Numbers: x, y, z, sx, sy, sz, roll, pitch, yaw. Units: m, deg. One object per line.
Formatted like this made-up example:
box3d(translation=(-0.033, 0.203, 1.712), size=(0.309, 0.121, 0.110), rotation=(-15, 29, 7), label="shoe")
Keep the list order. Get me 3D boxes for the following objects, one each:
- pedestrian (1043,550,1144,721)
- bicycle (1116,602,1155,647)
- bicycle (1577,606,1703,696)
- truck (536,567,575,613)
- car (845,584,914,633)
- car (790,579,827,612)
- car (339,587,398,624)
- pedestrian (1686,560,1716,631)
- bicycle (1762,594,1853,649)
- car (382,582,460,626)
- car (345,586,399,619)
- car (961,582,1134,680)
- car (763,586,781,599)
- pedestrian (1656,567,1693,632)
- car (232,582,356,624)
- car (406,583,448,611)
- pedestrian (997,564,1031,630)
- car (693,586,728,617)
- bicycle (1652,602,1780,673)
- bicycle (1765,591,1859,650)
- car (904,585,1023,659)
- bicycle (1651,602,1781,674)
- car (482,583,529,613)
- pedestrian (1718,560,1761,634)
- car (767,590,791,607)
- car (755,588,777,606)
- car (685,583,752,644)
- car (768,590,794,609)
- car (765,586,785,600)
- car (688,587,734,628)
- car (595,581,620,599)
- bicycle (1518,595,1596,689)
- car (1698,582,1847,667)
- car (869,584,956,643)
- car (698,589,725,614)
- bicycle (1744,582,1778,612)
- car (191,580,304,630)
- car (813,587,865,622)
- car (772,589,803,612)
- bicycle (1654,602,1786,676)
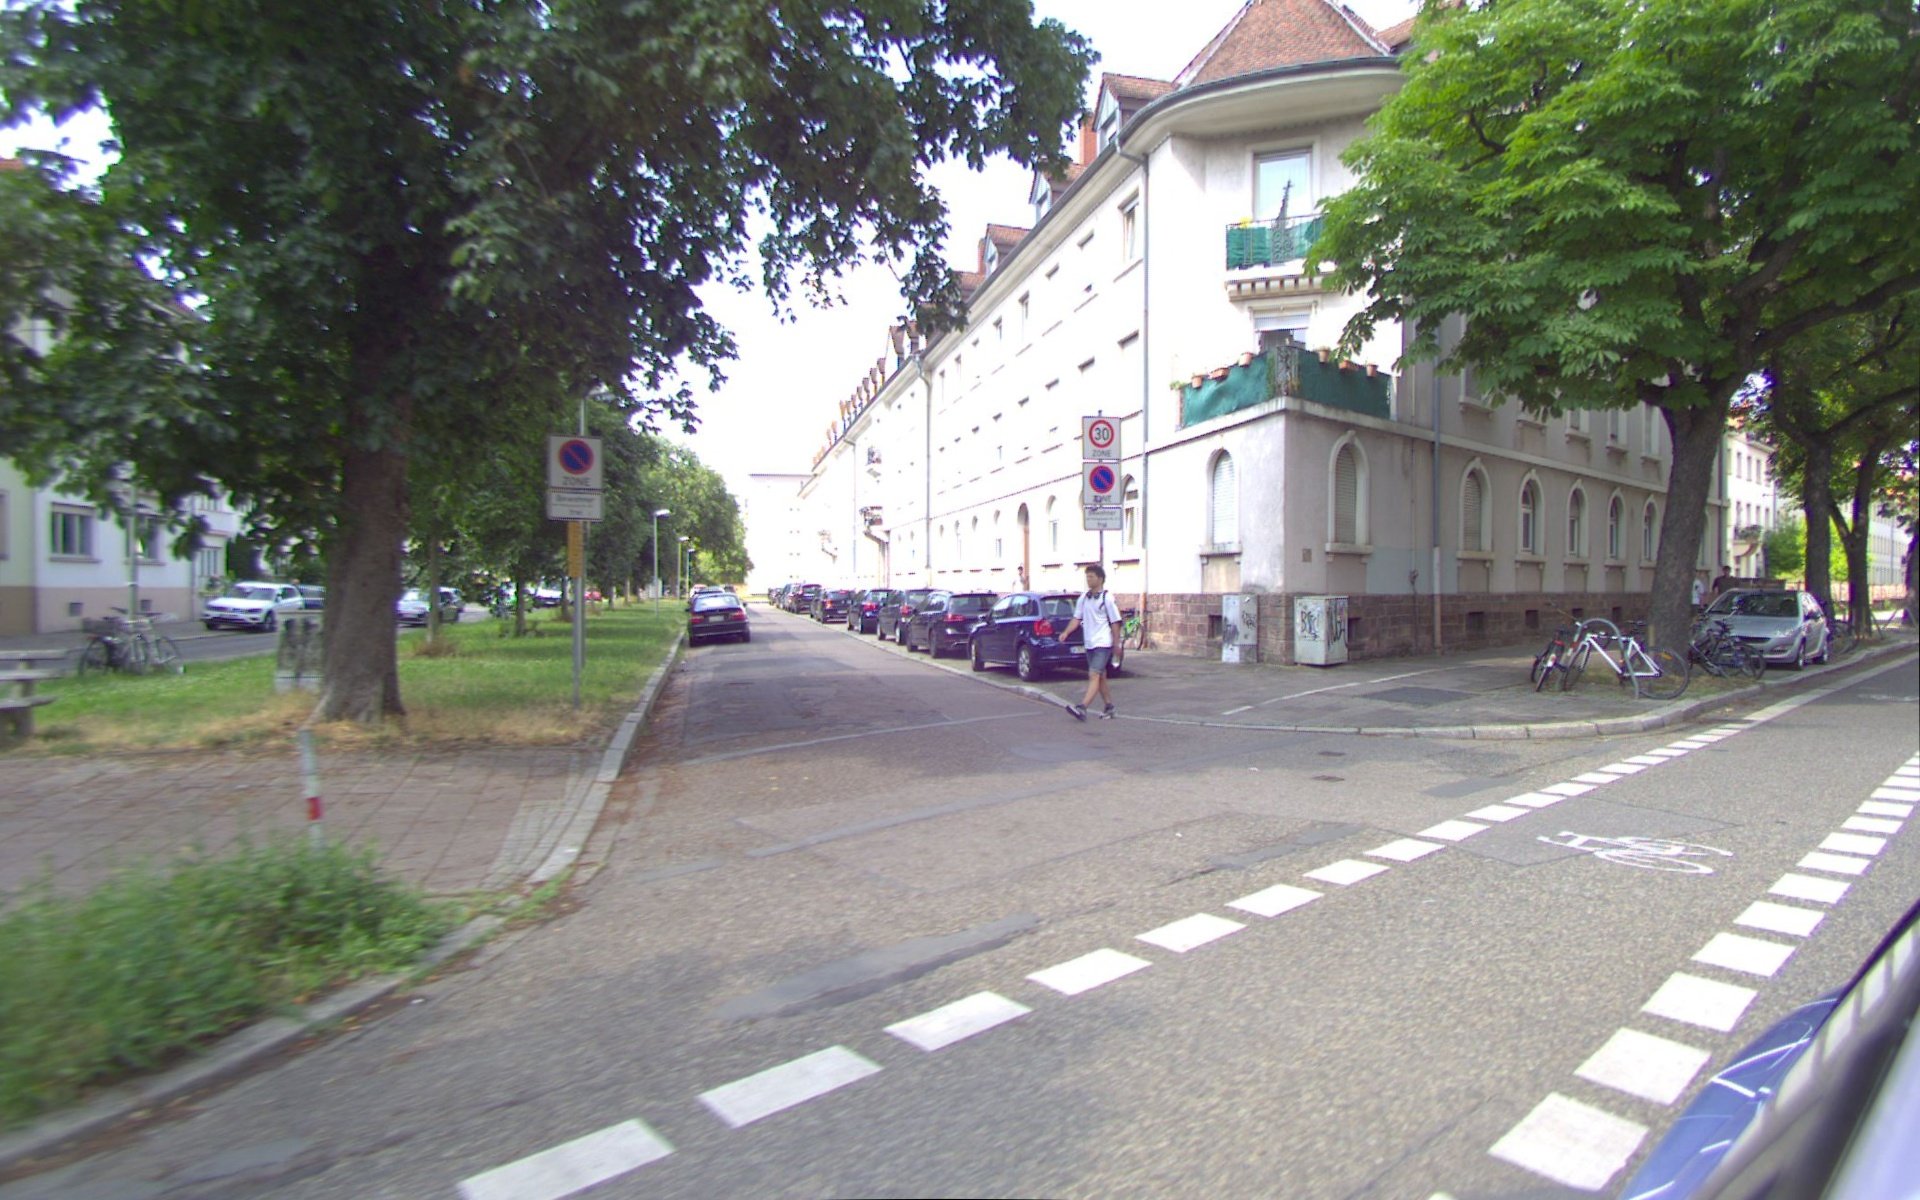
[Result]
box3d(translation=(1.523, 0.373, 11.528), size=(1.011, 1.857, 0.619), rotation=(0, 0, -38), label="pedestrian")
box3d(translation=(3.512, 0.471, 20.314), size=(0.339, 0.854, 1.209), rotation=(0, 1, -13), label="bicycle")
box3d(translation=(8.703, 0.625, 12.975), size=(0.470, 1.079, 1.270), rotation=(0, 1, -41), label="bicycle")
box3d(translation=(-27.693, -0.674, 69.404), size=(1.821, 2.989, 4.267), rotation=(2, 0, -14), label="truck")
box3d(translation=(-2.771, 0.227, 33.968), size=(1.695, 1.530, 3.940), rotation=(0, 1, -14), label="car")
box3d(translation=(-8.479, -0.272, 56.509), size=(1.695, 1.757, 3.940), rotation=(0, 1, -14), label="car")
box3d(translation=(-26.507, 0.224, 45.455), size=(1.357, 1.517, 3.340), rotation=(2, 0, -14), label="car")
box3d(translation=(20.023, -0.126, 27.348), size=(0.675, 1.876, 0.505), rotation=(0, 0, -41), label="pedestrian")
box3d(translation=(18.937, 0.453, 22.642), size=(0.508, 1.167, 1.493), rotation=(0, 1, -34), label="bicycle")
box3d(translation=(-20.022, 0.113, 37.760), size=(1.694, 1.517, 3.627), rotation=(2, 0, -14), label="car")
box3d(translation=(-28.804, 0.081, 49.667), size=(1.357, 1.517, 3.340), rotation=(2, 0, -14), label="car")
box3d(translation=(1.374, 0.438, 17.295), size=(1.695, 1.470, 3.582), rotation=(0, 1, -18), label="car")
box3d(translation=(-20.850, -0.862, 112.240), size=(1.695, 1.368, 3.940), rotation=(0, 1, -14), label="car")
box3d(translation=(18.691, -0.019, 26.477), size=(0.959, 1.660, 0.581), rotation=(0, 0, -41), label="pedestrian")
box3d(translation=(-27.038, 0.114, 41.238), size=(3.835, 1.517, 1.902), rotation=(2, 0, -21), label="car")
box3d(translation=(-30.469, -0.199, 57.927), size=(1.357, 1.517, 3.340), rotation=(2, 0, -14), label="car")
box3d(translation=(1.542, -0.083, 28.765), size=(0.810, 1.857, 0.732), rotation=(0, 0, -10), label="pedestrian")
box3d(translation=(-13.108, 0.046, 53.000), size=(1.613, 1.515, 4.008), rotation=(-1, 1, -16), label="car")
box3d(translation=(12.392, 0.586, 16.639), size=(0.342, 1.084, 1.651), rotation=(0, 1, -37), label="bicycle")
box3d(translation=(18.593, 0.423, 22.117), size=(0.508, 1.236, 1.493), rotation=(-1, 1, -34), label="bicycle")
box3d(translation=(-0.032, 0.412, 22.749), size=(1.695, 1.470, 4.265), rotation=(0, 1, -14), label="car")
box3d(translation=(12.184, 0.589, 16.354), size=(0.342, 1.084, 1.652), rotation=(0, 1, -37), label="bicycle")
box3d(translation=(-24.699, -0.128, 55.078), size=(1.694, 1.517, 3.627), rotation=(2, 0, -14), label="car")
box3d(translation=(20.709, -0.085, 26.885), size=(0.871, 1.913, 0.755), rotation=(0, 0, -41), label="pedestrian")
box3d(translation=(-14.965, -0.151, 83.353), size=(1.695, 1.368, 3.940), rotation=(0, 1, -14), label="car")
box3d(translation=(-17.637, -0.295, 91.856), size=(1.613, 1.515, 4.008), rotation=(-1, 1, -15), label="car")
box3d(translation=(-6.956, 0.327, 29.120), size=(1.696, 1.530, 3.940), rotation=(-4, 2, -14), label="car")
box3d(translation=(-13.350, -0.080, 75.338), size=(1.695, 1.368, 3.940), rotation=(0, 1, -14), label="car")
box3d(translation=(-18.205, -0.735, 99.697), size=(1.695, 1.368, 3.940), rotation=(0, 1, -14), label="car")
box3d(translation=(-9.896, 0.266, 40.067), size=(1.613, 1.515, 4.008), rotation=(-1, 1, -16), label="car")
box3d(translation=(-30.816, -0.904, 88.537), size=(1.694, 1.517, 3.627), rotation=(2, 0, -14), label="car")
box3d(translation=(8.153, 0.532, 13.795), size=(0.584, 1.173, 1.809), rotation=(0, 1, 42), label="bicycle")
box3d(translation=(15.527, 0.391, 19.269), size=(3.830, 1.463, 1.588), rotation=(-1, 1, -41), label="car")
box3d(translation=(-1.411, 0.311, 28.548), size=(1.695, 1.530, 3.940), rotation=(0, 1, -14), label="car")
box3d(translation=(-15.806, 0.060, 64.260), size=(1.613, 1.515, 4.008), rotation=(-1, 1, -15), label="car")
box3d(translation=(33.665, -0.158, 42.526), size=(2.554, 1.206, 0.653), rotation=(-1, 1, -41), label="bicycle")
box3d(translation=(-24.989, 0.142, 35.678), size=(1.858, 1.598, 4.075), rotation=(2, 0, -14), label="car")
box3d(translation=(-5.082, 0.144, 42.206), size=(1.695, 1.368, 3.940), rotation=(0, 1, -14), label="car")
box3d(translation=(-11.264, 0.009, 65.889), size=(1.695, 1.368, 3.940), rotation=(0, 1, -14), label="car")
box3d(translation=(11.994, 0.588, 16.023), size=(0.342, 1.084, 1.652), rotation=(0, 1, -37), label="bicycle")
